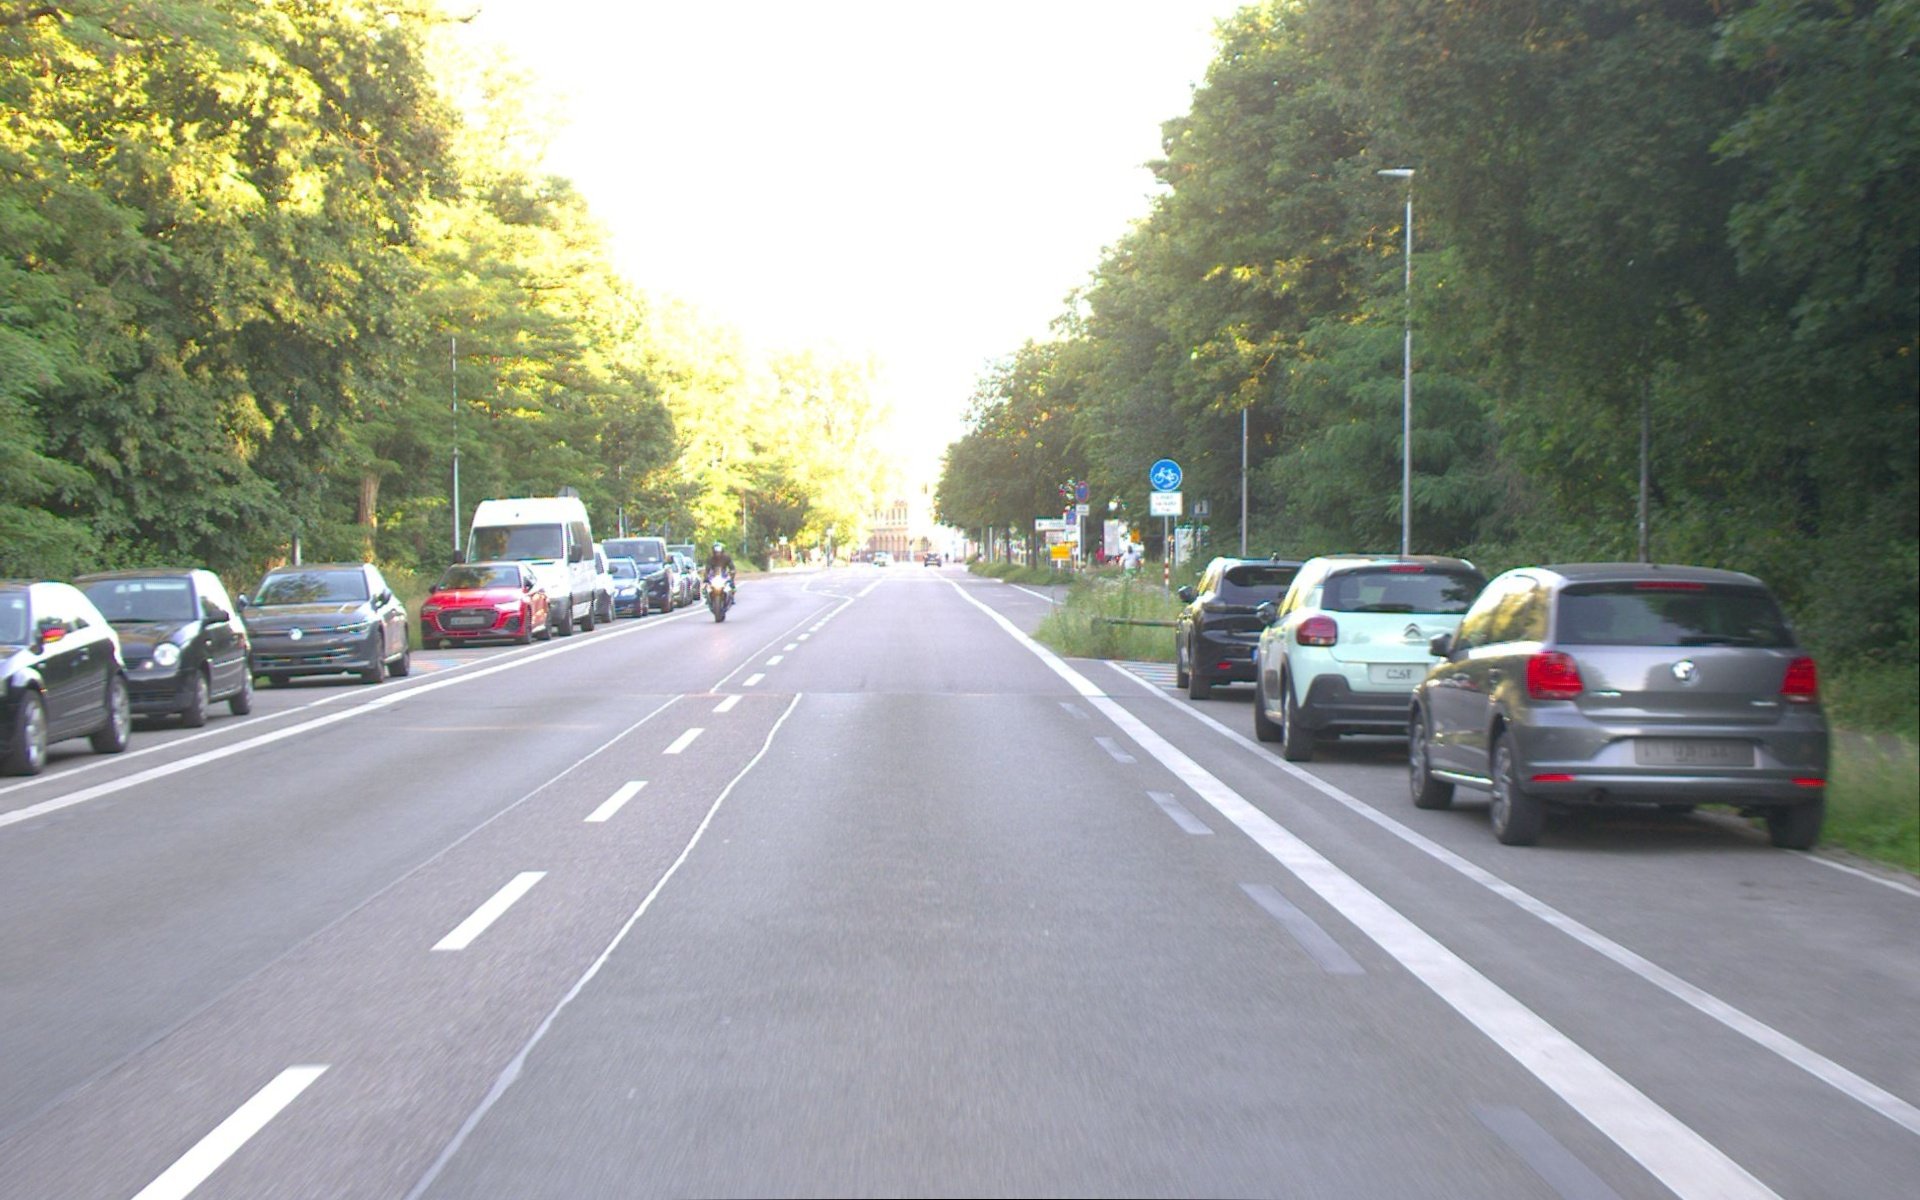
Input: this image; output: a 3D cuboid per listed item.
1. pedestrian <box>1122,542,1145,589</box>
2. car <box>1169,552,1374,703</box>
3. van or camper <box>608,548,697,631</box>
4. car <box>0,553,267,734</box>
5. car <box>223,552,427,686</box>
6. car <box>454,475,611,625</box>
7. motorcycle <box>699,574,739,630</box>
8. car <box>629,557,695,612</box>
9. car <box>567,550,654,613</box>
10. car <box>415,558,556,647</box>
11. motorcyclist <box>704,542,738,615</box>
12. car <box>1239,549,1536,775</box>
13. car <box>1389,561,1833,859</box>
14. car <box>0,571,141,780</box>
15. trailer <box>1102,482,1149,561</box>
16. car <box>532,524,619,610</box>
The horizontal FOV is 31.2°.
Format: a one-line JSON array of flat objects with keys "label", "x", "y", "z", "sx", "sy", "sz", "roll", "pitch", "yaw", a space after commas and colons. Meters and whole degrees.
[{"label": "pedestrian", "x": 6.344, "y": -1.262, "z": 125.710, "sx": 0.838, "sy": 1.745, "sz": 0.726, "roll": 0, "pitch": 0, "yaw": 0}, {"label": "car", "x": 3.178, "y": 0.239, "z": 35.768, "sx": 1.710, "sy": 1.439, "sz": 4.122, "roll": 1, "pitch": 1, "yaw": -1}, {"label": "van or camper", "x": -7.995, "y": -0.291, "z": 89.810, "sx": 2.002, "sy": 2.011, "sz": 5.462, "roll": -3, "pitch": 1, "yaw": -3}, {"label": "car", "x": -7.610, "y": 0.351, "z": 31.748, "sx": 1.711, "sy": 1.503, "sz": 3.657, "roll": -2, "pitch": 1, "yaw": -1}, {"label": "car", "x": -7.666, "y": 0.188, "z": 41.842, "sx": 1.845, "sy": 1.457, "sz": 4.230, "roll": -2, "pitch": 1, "yaw": -3}, {"label": "car", "x": -8.081, "y": -0.951, "z": 65.664, "sx": 2.079, "sy": 2.597, "sz": 7.089, "roll": -3, "pitch": 1, "yaw": -1}, {"label": "motorcycle", "x": -5.025, "y": 0.038, "z": 71.769, "sx": 0.611, "sy": 1.123, "sz": 1.961, "roll": -1, "pitch": 1, "yaw": 2}, {"label": "car", "x": -8.587, "y": -0.457, "z": 99.171, "sx": 1.668, "sy": 1.496, "sz": 4.247, "roll": -2, "pitch": 1, "yaw": -2}, {"label": "car", "x": -8.438, "y": -0.457, "z": 83.216, "sx": 1.669, "sy": 1.428, "sz": 4.447, "roll": -2, "pitch": 1, "yaw": -1}, {"label": "car", "x": -8.017, "y": 0.011, "z": 58.431, "sx": 1.716, "sy": 1.425, "sz": 4.388, "roll": -1, "pitch": 1, "yaw": 1}, {"label": "motorcyclist", "x": -4.991, "y": -0.451, "z": 71.899, "sx": 0.604, "sy": 1.524, "sz": 0.995, "roll": -1, "pitch": 1, "yaw": 2}, {"label": "car", "x": 3.119, "y": 0.397, "z": 25.806, "sx": 1.688, "sy": 1.541, "sz": 4.112, "roll": -1, "pitch": 1, "yaw": 0}, {"label": "car", "x": 3.472, "y": 0.521, "z": 19.009, "sx": 1.579, "sy": 1.441, "sz": 3.961, "roll": -1, "pitch": 1, "yaw": -2}, {"label": "car", "x": -7.317, "y": 0.517, "z": 25.445, "sx": 1.597, "sy": 1.390, "sz": 4.052, "roll": -1, "pitch": 1, "yaw": -1}, {"label": "trailer", "x": 11.661, "y": -5.513, "z": 243.140, "sx": 3.020, "sy": 5.443, "sz": 7.934, "roll": 0, "pitch": 1, "yaw": 0}, {"label": "car", "x": -8.728, "y": -0.725, "z": 78.227, "sx": 1.687, "sy": 1.852, "sz": 4.388, "roll": 1, "pitch": 0, "yaw": -3}]
